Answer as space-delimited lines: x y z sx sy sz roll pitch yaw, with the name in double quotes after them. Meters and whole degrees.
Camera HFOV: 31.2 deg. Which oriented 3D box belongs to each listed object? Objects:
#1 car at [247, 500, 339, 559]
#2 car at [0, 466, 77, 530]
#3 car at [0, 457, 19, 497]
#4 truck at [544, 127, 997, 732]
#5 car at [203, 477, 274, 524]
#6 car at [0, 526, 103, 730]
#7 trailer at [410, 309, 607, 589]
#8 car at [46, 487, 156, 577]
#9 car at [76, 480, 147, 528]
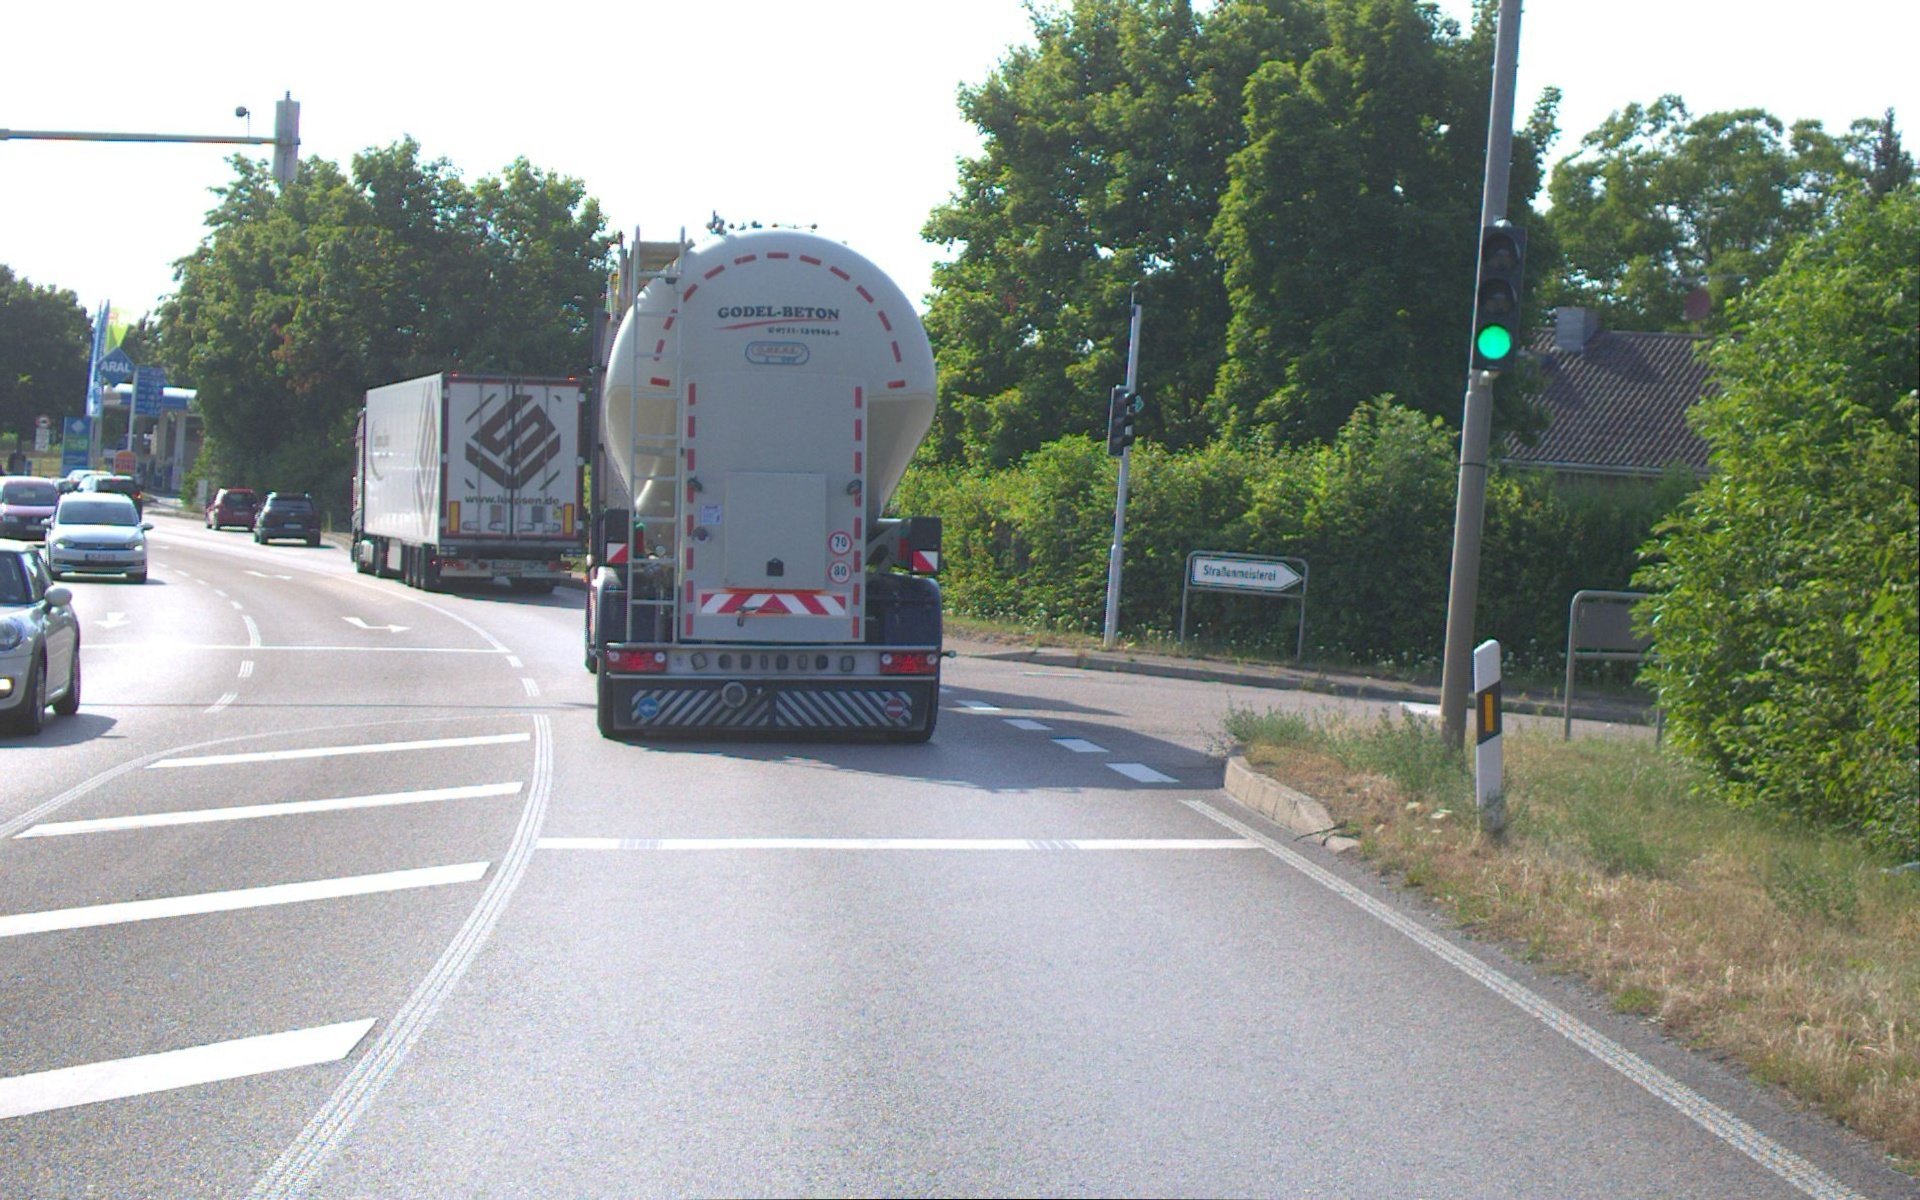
-20.000 -2.084 102.990 1.993 1.650 4.001 2 0 -21 "car"
-24.537 -2.702 91.197 1.881 1.594 4.001 2 1 -18 "car"
-40.113 -5.086 141.425 1.881 1.594 4.001 2 1 -27 "car"
-2.029 -1.206 30.115 2.975 4.161 11.665 2 0 -7 "truck"
-24.924 -3.422 118.711 1.683 1.463 4.001 2 0 -22 "car"
-7.575 0.169 25.921 1.720 1.431 3.750 0 1 -7 "car"
-8.841 -2.701 66.269 2.963 4.865 10.291 2 0 -11 "trailer"
-16.417 -1.320 65.570 1.881 1.594 4.001 2 1 -16 "car"
-29.879 -3.385 120.997 1.881 1.594 4.001 2 1 -21 "car"
